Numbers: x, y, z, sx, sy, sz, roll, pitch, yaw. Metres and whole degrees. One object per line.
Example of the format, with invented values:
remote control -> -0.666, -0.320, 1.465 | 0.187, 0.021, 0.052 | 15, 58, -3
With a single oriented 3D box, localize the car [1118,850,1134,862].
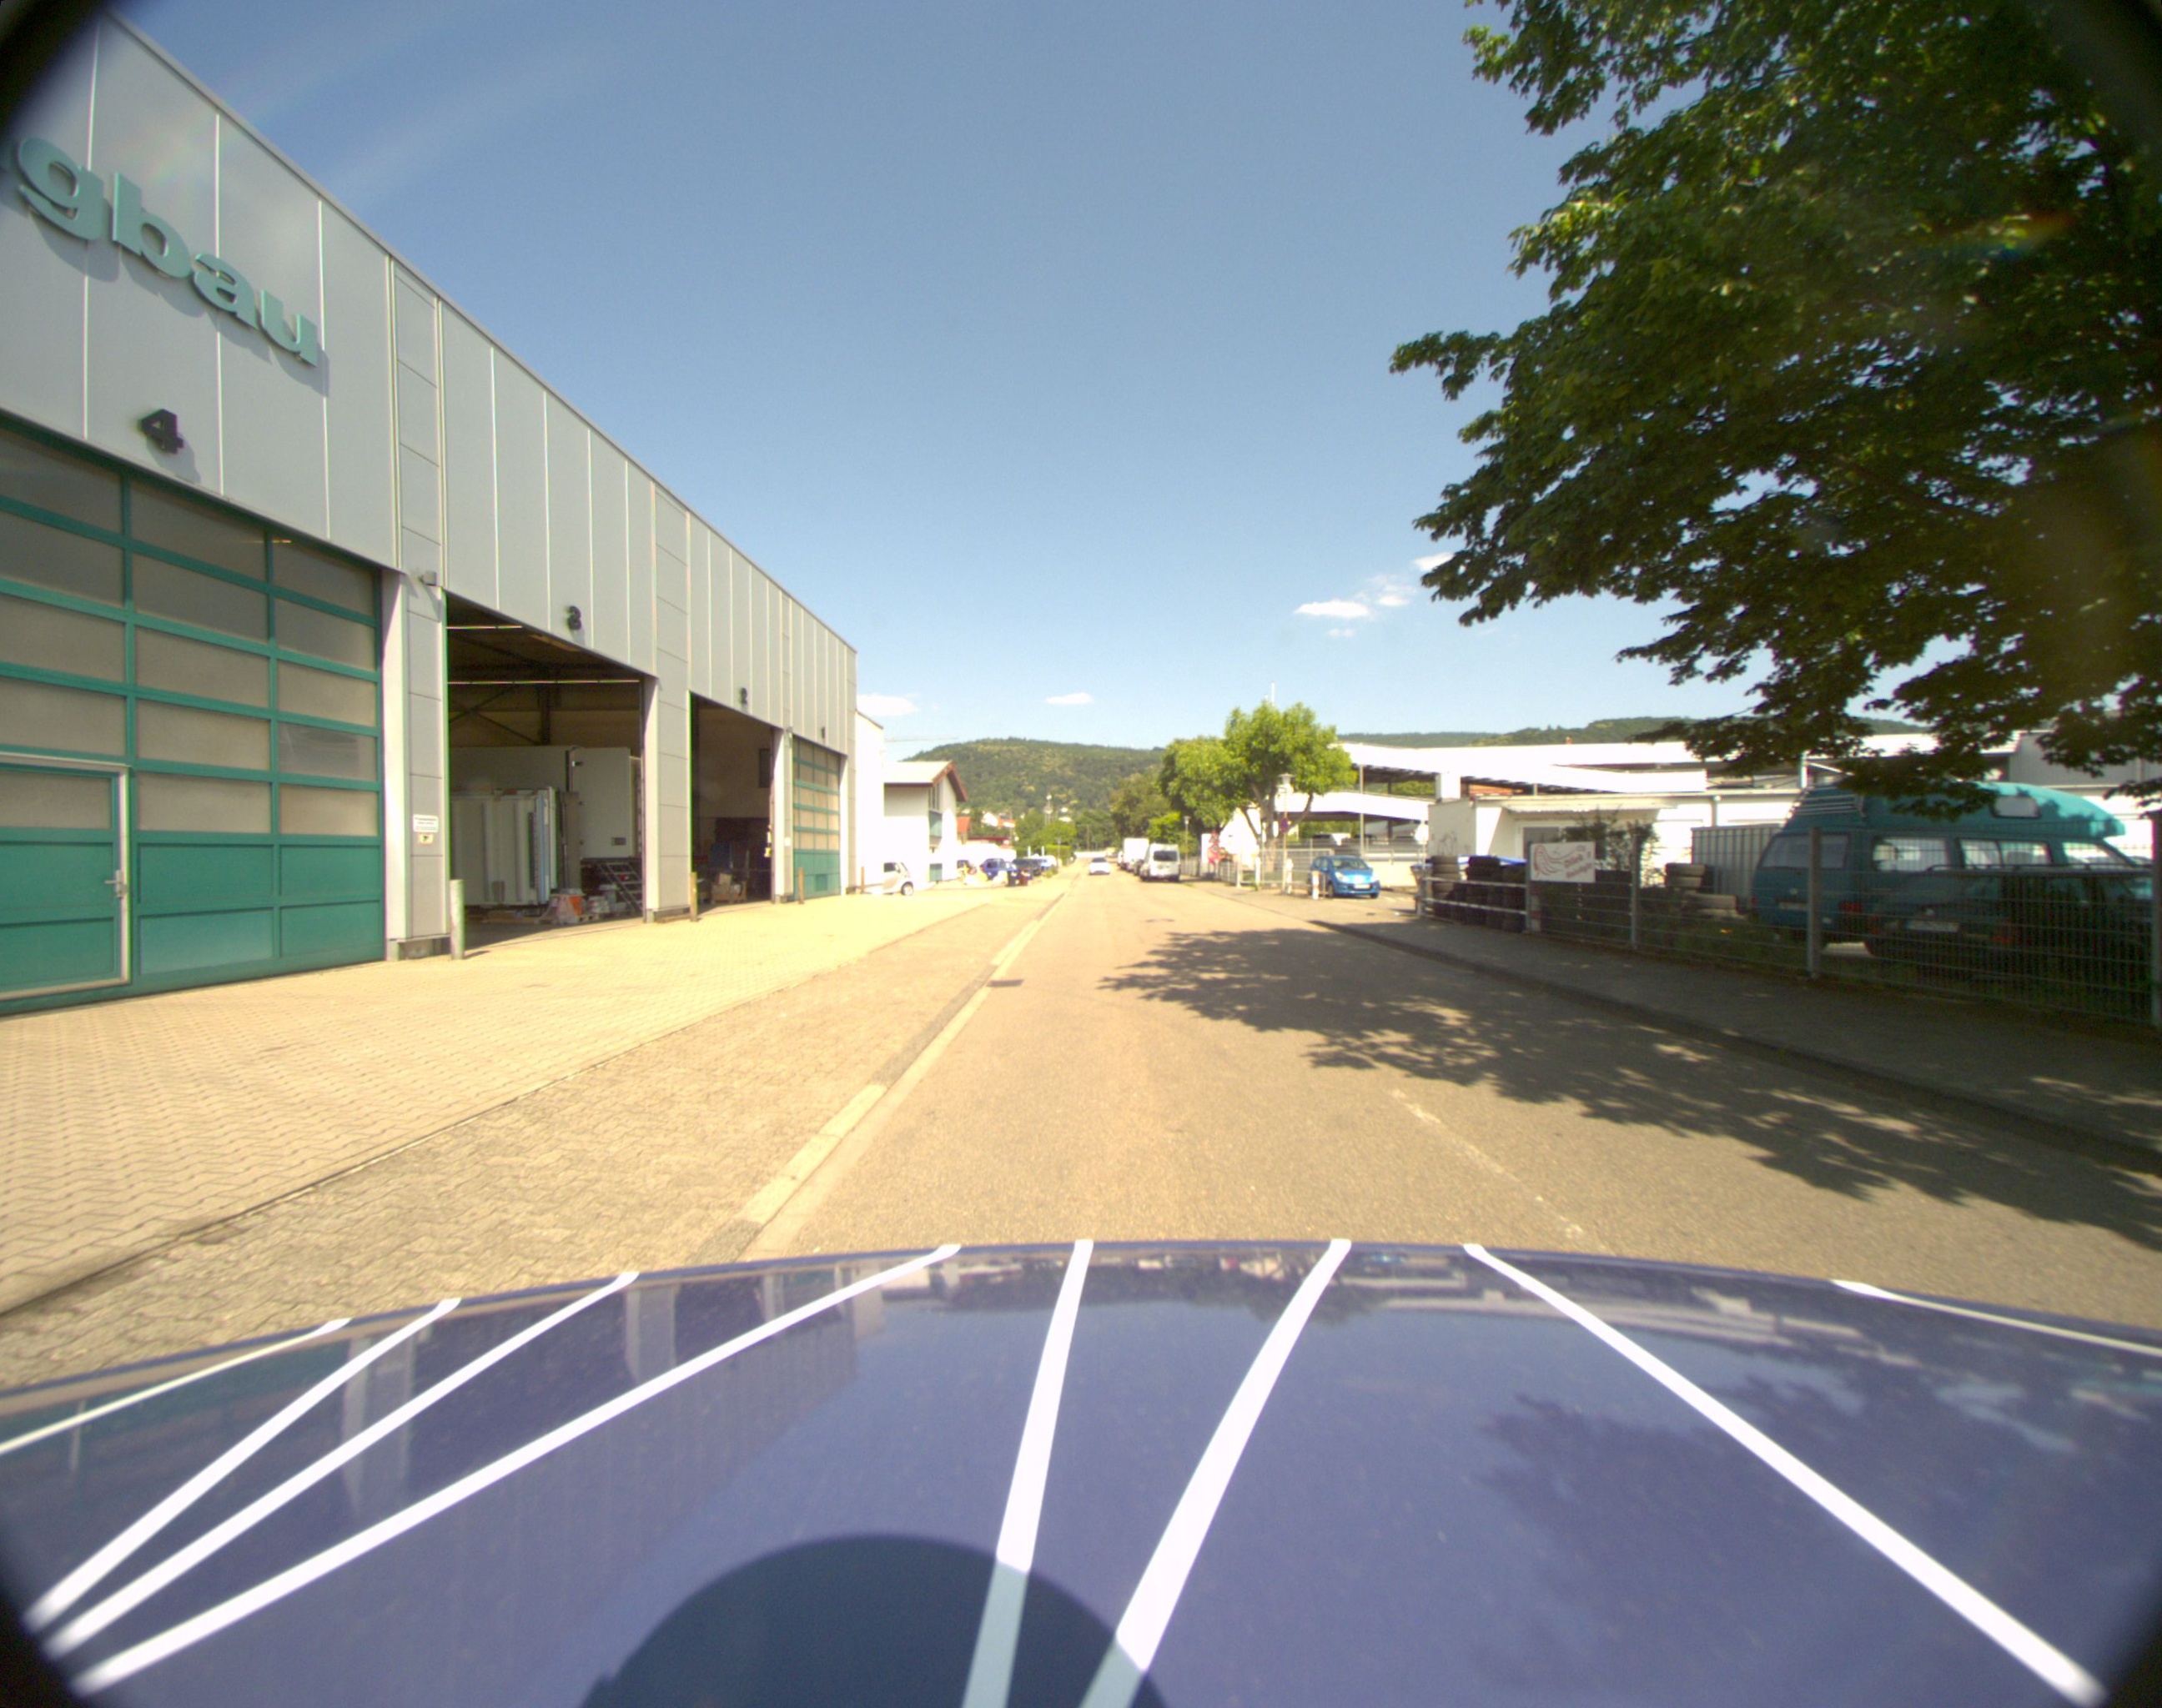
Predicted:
car -> 6.054, 0.289, 102.541 | 1.708, 1.564, 3.524 | -2, 1, -1

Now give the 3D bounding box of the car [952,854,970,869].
car -> -12.401, 0.770, 78.786 | 1.452, 1.371, 3.186 | -2, 1, -2

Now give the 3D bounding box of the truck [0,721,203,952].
truck -> -19.831, -0.283, 12.514 | 7.571, 3.439, 2.769 | 0, 0, 1

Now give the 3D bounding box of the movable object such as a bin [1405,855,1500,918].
movable object such as a bin -> 8.866, 0.737, 18.279 | 1.383, 1.350, 2.104 | -2, 1, 7

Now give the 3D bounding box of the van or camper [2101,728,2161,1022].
van or camper -> 11.731, 0.203, 5.965 | 4.666, 2.562, 1.846 | 0, 1, 3

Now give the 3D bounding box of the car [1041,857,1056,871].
car -> -3.333, 1.005, 78.434 | 1.452, 1.371, 3.186 | -2, 1, -2

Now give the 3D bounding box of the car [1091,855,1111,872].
car -> 1.777, 0.815, 67.248 | 1.736, 1.521, 4.109 | 0, 0, 1

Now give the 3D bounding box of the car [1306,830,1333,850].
car -> 18.504, -1.059, 58.852 | 1.705, 1.449, 3.531 | 0, 0, 22

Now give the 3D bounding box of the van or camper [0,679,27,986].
van or camper -> -13.743, -0.186, 7.005 | 5.055, 3.187, 1.999 | -1, 1, -1

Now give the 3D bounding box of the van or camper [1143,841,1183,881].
van or camper -> 5.176, 0.392, 48.463 | 2.028, 2.363, 4.685 | 1, 1, 1

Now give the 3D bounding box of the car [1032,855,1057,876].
car -> -2.818, 0.823, 58.279 | 1.453, 1.487, 3.184 | -3, 1, -10

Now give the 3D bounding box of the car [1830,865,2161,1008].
car -> 11.187, 0.822, 8.347 | 3.924, 1.378, 1.860 | 0, 0, 5

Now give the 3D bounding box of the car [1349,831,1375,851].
car -> 21.633, -1.030, 58.504 | 1.705, 1.449, 3.530 | -2, 1, 23

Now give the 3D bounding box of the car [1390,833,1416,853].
car -> 24.574, -0.871, 58.071 | 1.705, 1.449, 3.530 | -2, 1, 23

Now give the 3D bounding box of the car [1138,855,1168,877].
car -> 5.191, 0.857, 55.433 | 1.708, 1.449, 3.524 | -2, 1, -1

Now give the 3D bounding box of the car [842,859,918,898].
car -> -8.424, 1.002, 31.932 | 1.309, 1.525, 2.829 | -2, -1, 44

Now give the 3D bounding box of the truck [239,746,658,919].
truck -> -14.671, -0.484, 18.026 | 7.854, 3.760, 2.625 | 0, 1, 2

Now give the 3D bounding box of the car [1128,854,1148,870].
car -> 5.470, 0.735, 73.080 | 1.708, 1.449, 3.525 | 0, 0, 1

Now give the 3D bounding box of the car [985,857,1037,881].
car -> -4.349, 0.905, 47.424 | 2.975, 1.332, 1.453 | -2, 1, 2

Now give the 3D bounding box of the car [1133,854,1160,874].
car -> 5.313, 0.802, 62.003 | 1.708, 1.449, 3.524 | -2, 1, -1

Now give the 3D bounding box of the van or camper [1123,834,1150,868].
van or camper -> 5.711, -0.295, 79.020 | 2.525, 3.350, 5.591 | 0, 0, 1

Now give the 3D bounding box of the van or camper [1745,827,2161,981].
van or camper -> 12.315, 0.644, 10.744 | 4.192, 1.853, 1.774 | -2, 1, 3

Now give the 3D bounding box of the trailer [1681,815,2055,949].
trailer -> 14.381, 0.480, 14.132 | 4.781, 2.143, 2.000 | -2, 1, 2

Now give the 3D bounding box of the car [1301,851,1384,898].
car -> 9.082, 0.673, 26.652 | 1.644, 1.449, 3.524 | -2, 1, 0
